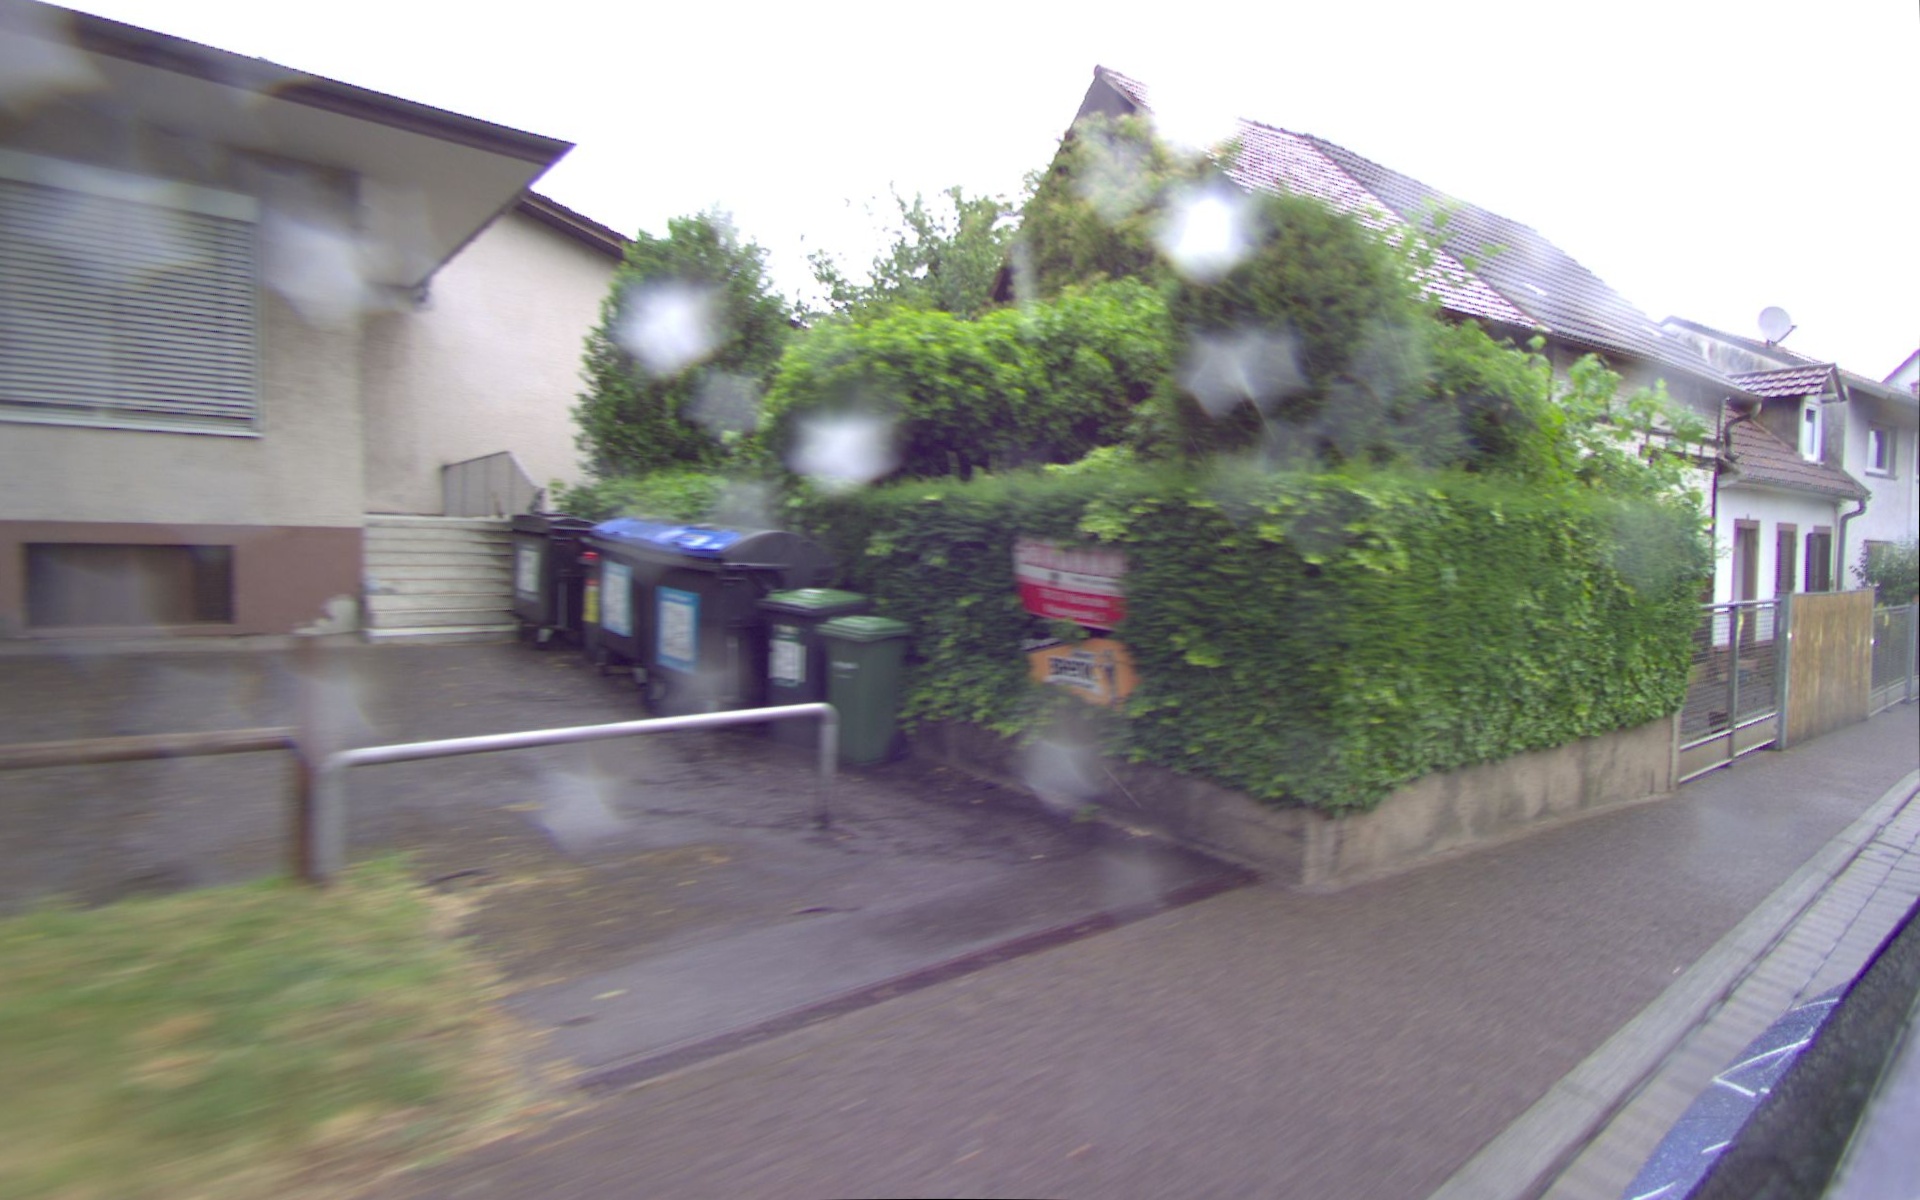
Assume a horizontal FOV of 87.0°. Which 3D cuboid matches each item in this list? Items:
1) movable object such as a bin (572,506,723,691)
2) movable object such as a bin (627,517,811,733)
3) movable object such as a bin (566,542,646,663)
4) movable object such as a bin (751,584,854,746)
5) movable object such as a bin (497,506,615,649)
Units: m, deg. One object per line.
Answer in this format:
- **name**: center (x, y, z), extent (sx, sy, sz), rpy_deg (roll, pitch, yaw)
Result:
- **movable object such as a bin**: center (-2.766, -0.056, 8.891), extent (0.782, 1.452, 1.238), rpy_deg (0, 6, -42)
- **movable object such as a bin**: center (-1.847, 0.134, 7.657), extent (0.782, 1.435, 1.296), rpy_deg (0, 6, -42)
- **movable object such as a bin**: center (-3.421, 0.009, 9.772), extent (0.521, 1.092, 0.568), rpy_deg (0, 5, -42)
- **movable object such as a bin**: center (-1.099, 0.424, 7.039), extent (0.455, 1.035, 0.538), rpy_deg (0, 5, -42)
- **movable object such as a bin**: center (-4.229, -0.261, 10.561), extent (0.782, 1.358, 1.151), rpy_deg (0, 6, -41)
